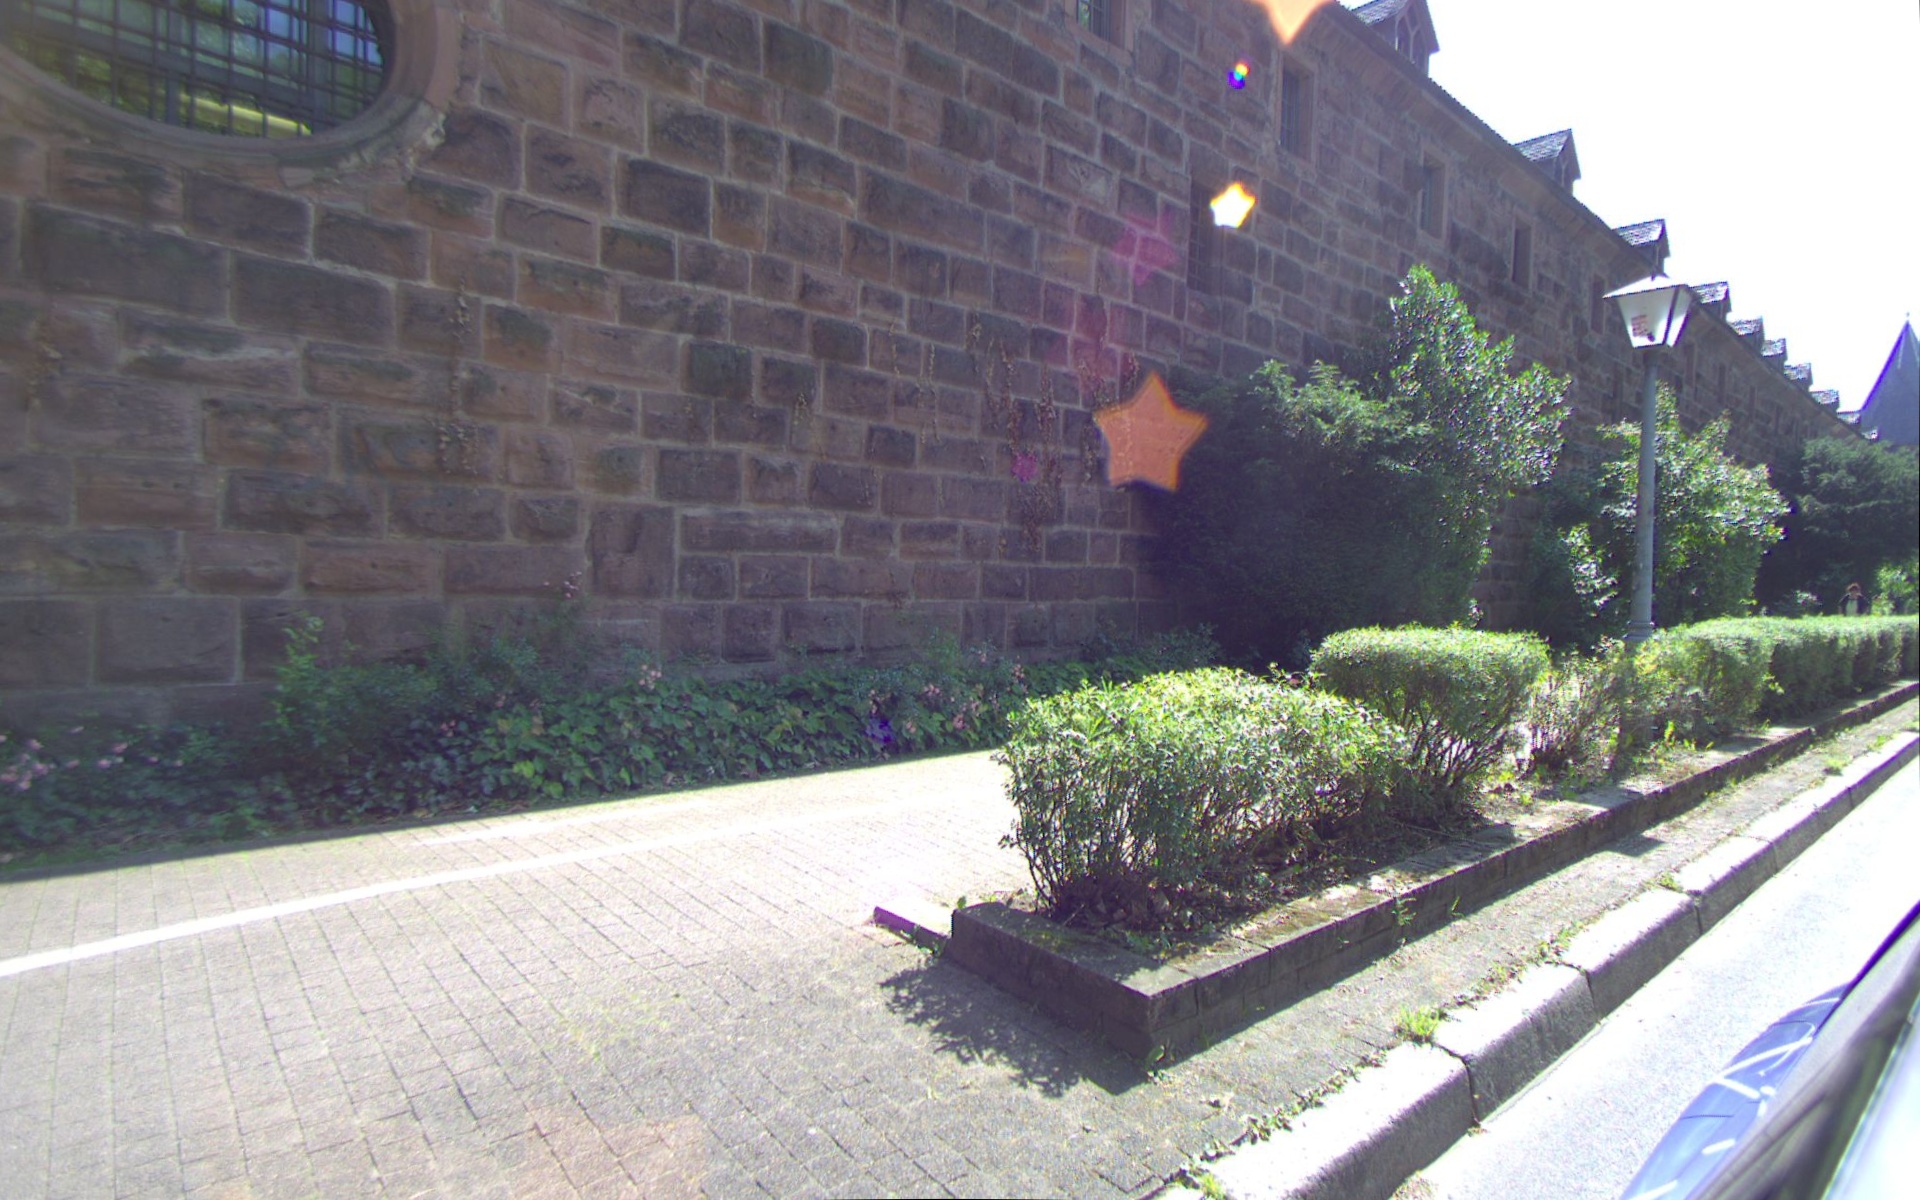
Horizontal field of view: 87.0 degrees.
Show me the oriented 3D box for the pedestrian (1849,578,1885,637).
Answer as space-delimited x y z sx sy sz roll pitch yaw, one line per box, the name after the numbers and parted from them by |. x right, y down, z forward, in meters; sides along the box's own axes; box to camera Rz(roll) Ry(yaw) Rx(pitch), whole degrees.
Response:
24.503 0.191 27.340 0.554 1.583 0.642 0 0 -41 | pedestrian
